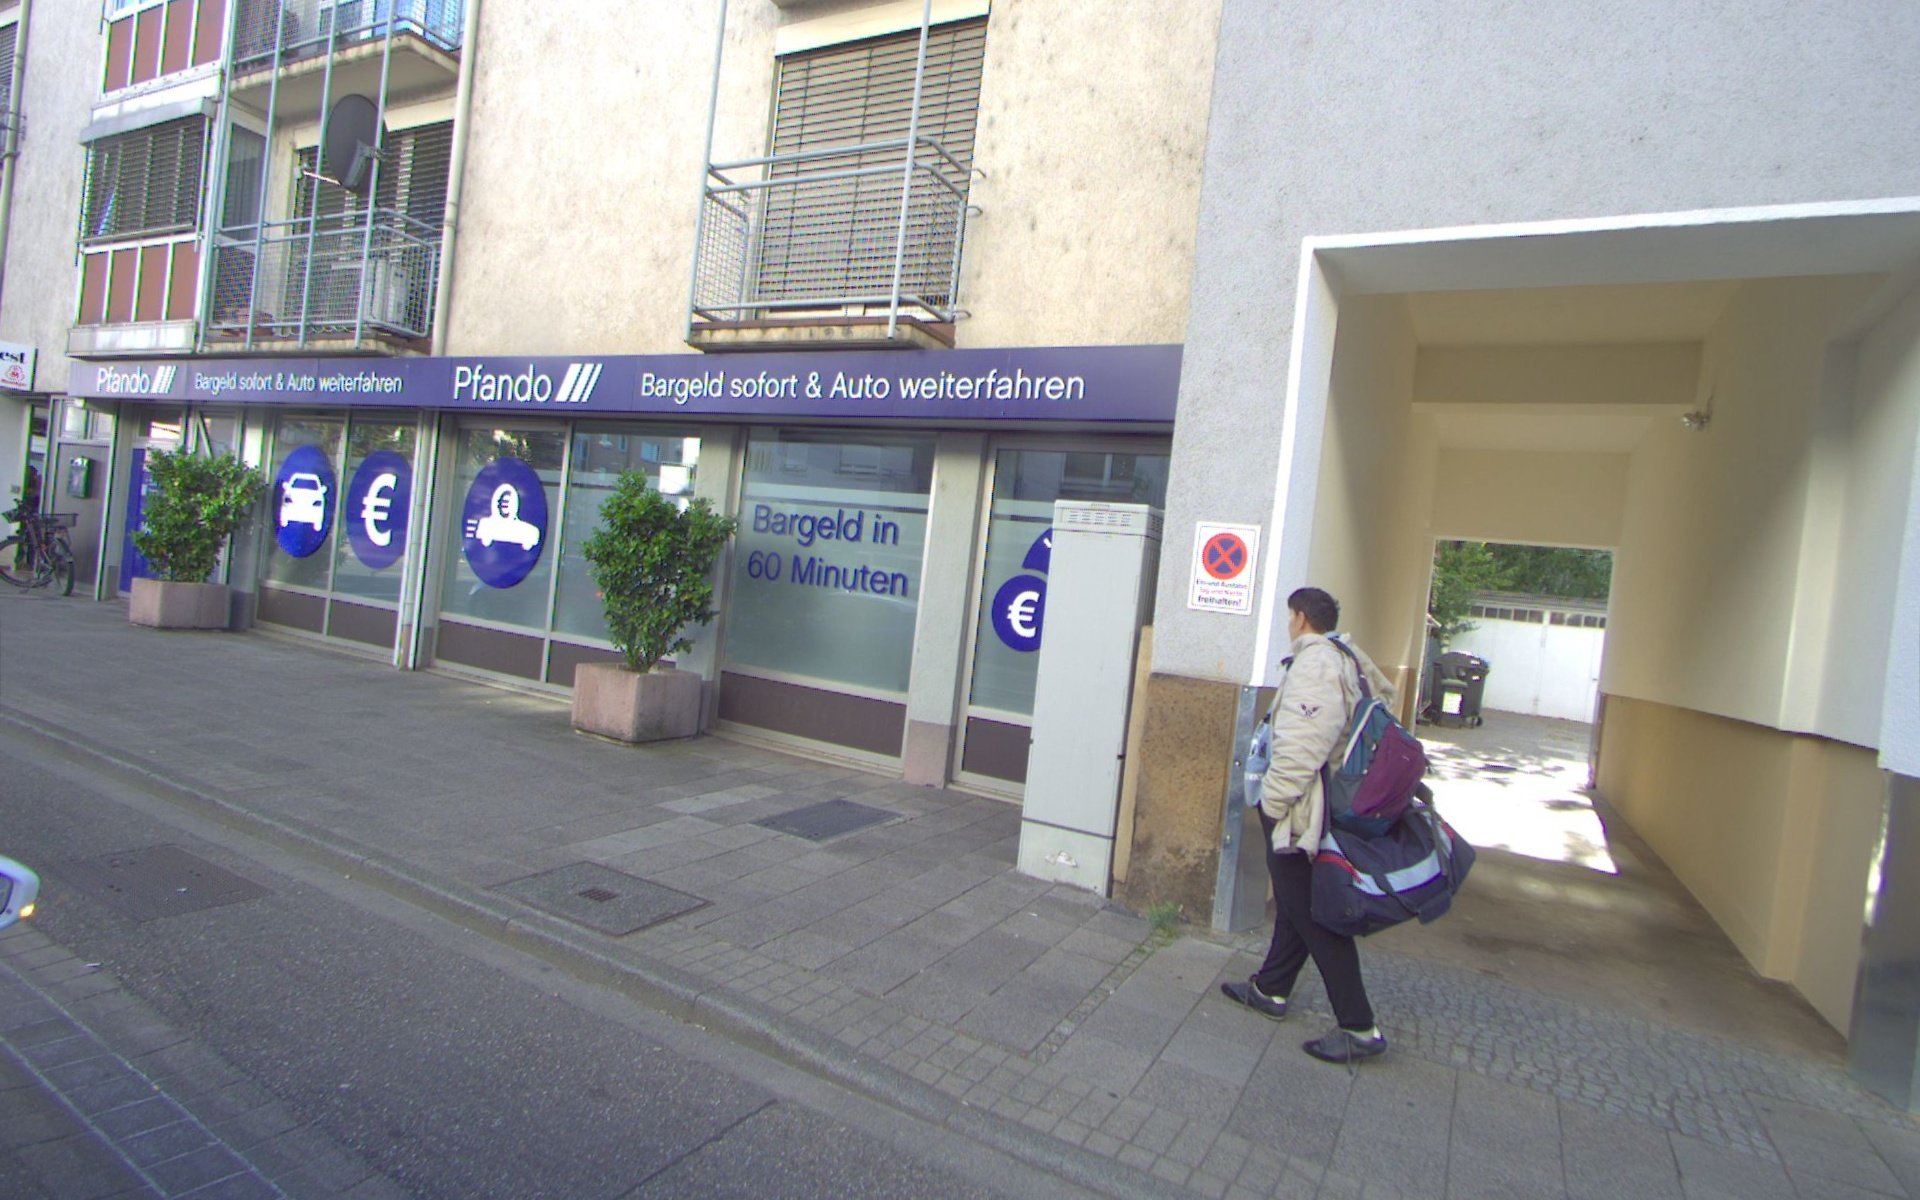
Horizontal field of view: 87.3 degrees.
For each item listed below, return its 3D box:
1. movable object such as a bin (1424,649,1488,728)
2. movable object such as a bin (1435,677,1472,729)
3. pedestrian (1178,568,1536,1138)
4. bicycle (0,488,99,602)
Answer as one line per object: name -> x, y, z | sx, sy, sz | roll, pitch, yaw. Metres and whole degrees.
movable object such as a bin -> 10.104, 1.784, 20.464 | 0.945, 1.426, 1.598 | 7, 1, 29
movable object such as a bin -> 9.553, 1.977, 19.461 | 0.518, 0.922, 0.580 | 7, 1, 29
pedestrian -> 1.392, 0.749, 3.495 | 0.853, 1.593, 0.874 | 8, 3, 29
bicycle -> -11.852, -0.730, 12.885 | 1.879, 1.280, 0.640 | 7, 1, 32
